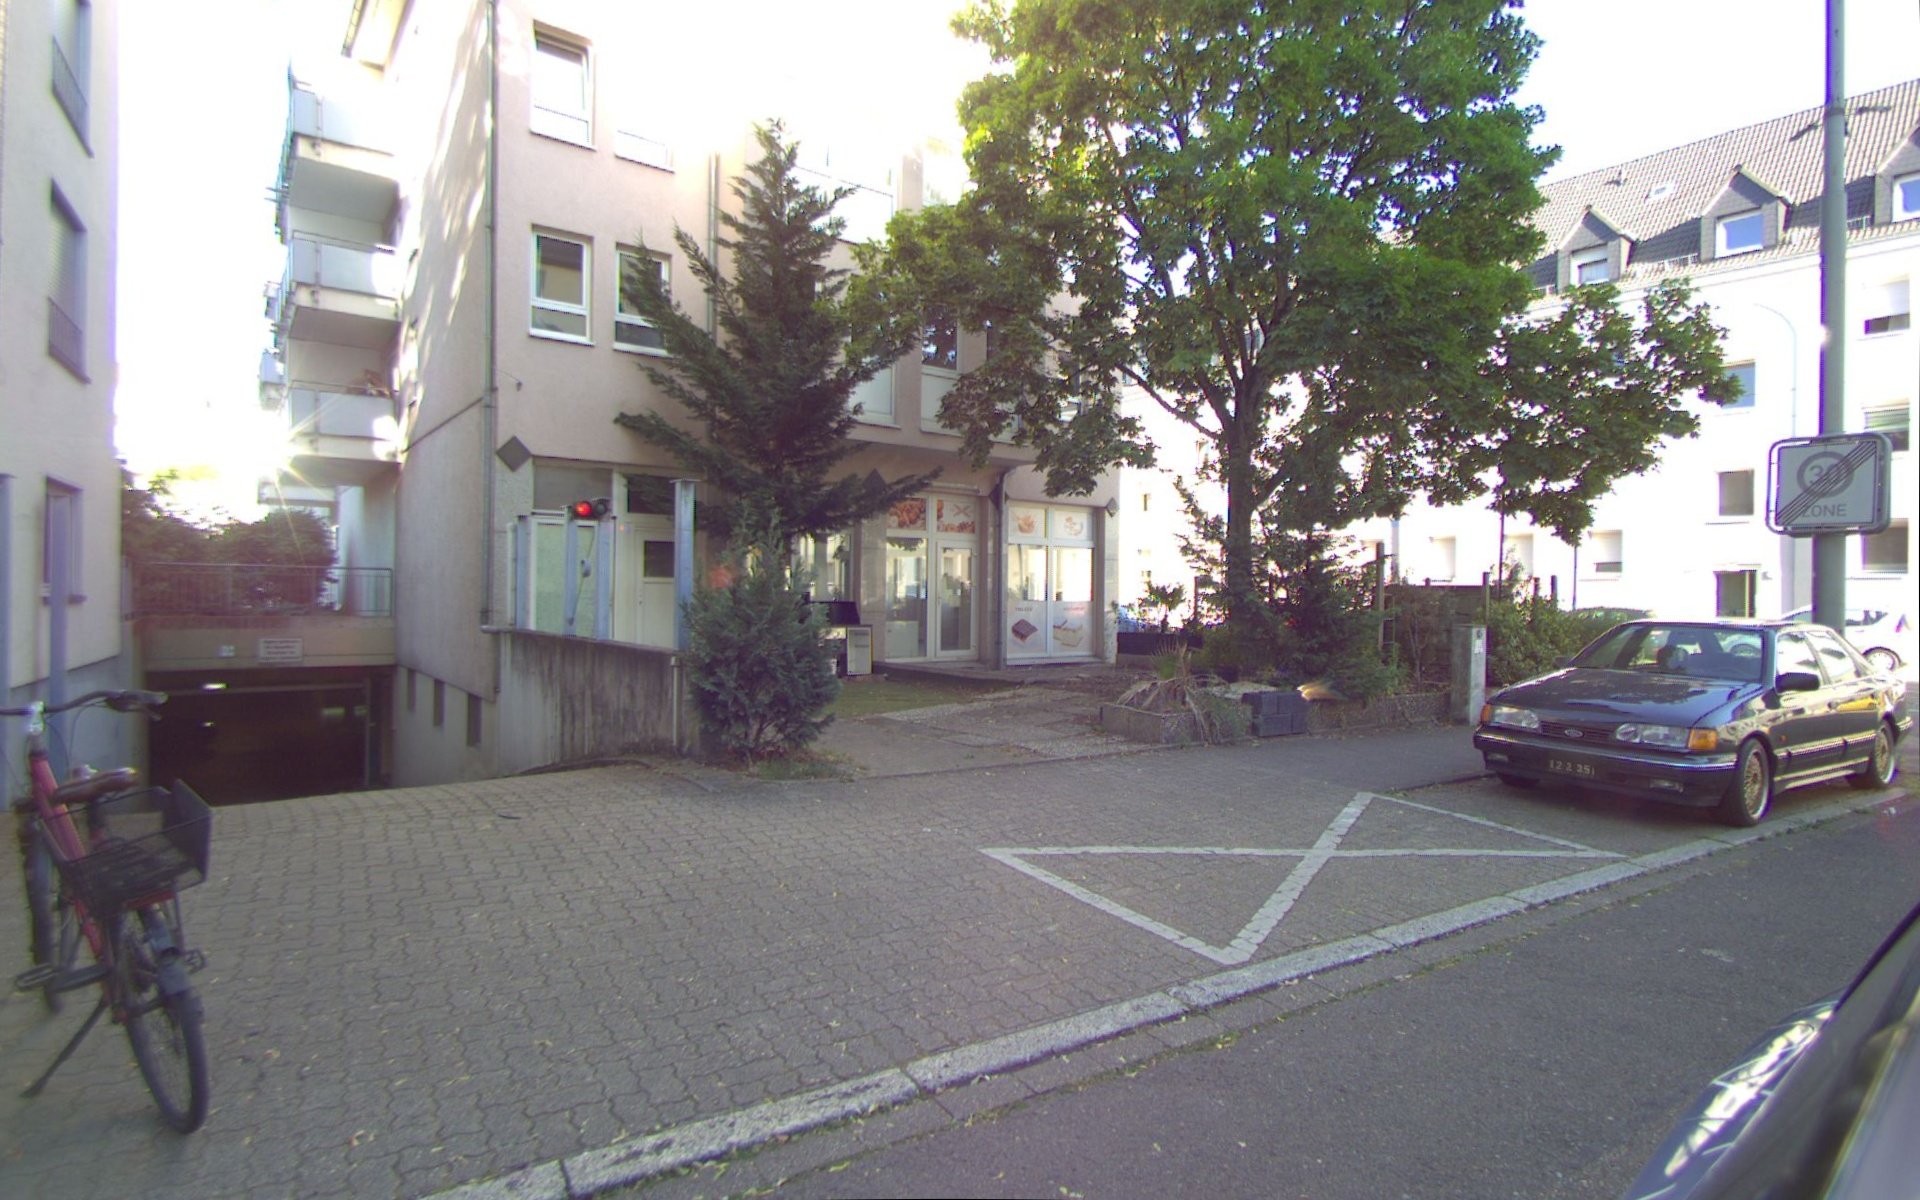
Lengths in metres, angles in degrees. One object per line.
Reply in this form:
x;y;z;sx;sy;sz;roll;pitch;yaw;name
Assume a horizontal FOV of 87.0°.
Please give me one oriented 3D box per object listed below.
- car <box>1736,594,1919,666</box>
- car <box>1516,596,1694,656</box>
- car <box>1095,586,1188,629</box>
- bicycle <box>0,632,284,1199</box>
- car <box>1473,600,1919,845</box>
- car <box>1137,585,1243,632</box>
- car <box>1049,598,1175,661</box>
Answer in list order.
21.352;0.680;24.605;1.620;1.627;3.702;0;0;-40;car
18.190;0.774;28.678;1.620;1.527;3.871;0;-3;-40;car
7.993;0.310;44.803;1.664;1.804;3.996;1;0;-38;car
-2.727;0.783;3.051;1.967;1.169;0.740;5;4;44;bicycle
6.240;0.770;8.203;4.419;1.424;1.668;0;3;-33;car
9.109;0.315;40.328;1.664;1.804;3.996;1;0;-38;car
3.624;0.671;24.358;1.242;1.373;2.874;-1;1;-43;car
